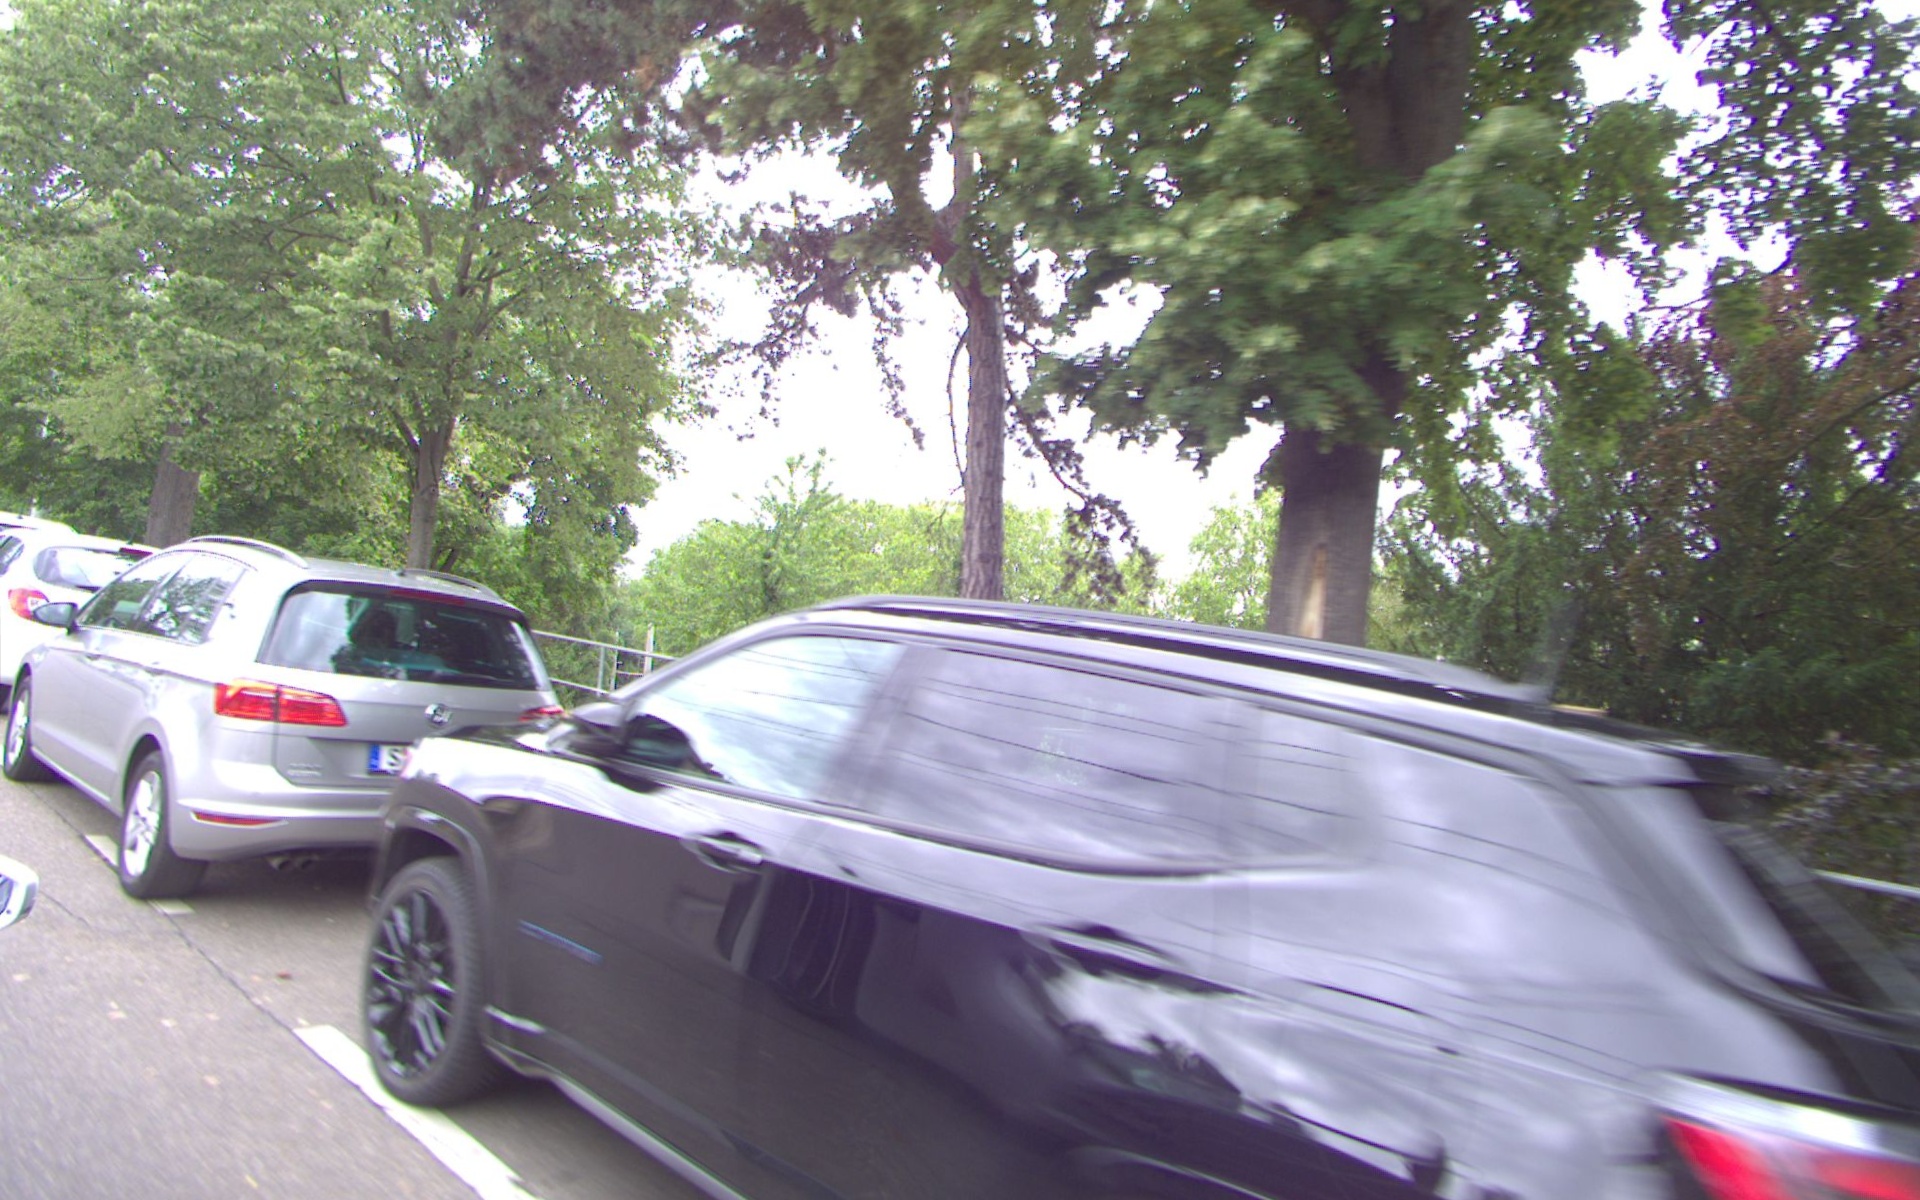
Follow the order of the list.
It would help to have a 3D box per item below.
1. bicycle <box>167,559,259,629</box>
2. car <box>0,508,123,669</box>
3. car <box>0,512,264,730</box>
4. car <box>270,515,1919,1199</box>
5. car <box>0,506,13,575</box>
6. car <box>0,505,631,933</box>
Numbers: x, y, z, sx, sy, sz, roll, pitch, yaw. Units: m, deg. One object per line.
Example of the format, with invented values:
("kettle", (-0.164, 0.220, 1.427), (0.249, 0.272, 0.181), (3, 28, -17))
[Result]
("bicycle", (-12.519, -0.105, 16.847), (1.764, 0.987, 0.428), (5, -3, 28))
("car", (-12.055, -0.321, 12.263), (4.026, 1.647, 1.730), (6, -6, 37))
("car", (-8.274, 0.084, 9.306), (4.002, 1.532, 1.633), (6, -5, 36))
("car", (-0.013, 0.796, 2.893), (4.533, 1.632, 1.905), (5, -4, 39))
("car", (-16.727, -0.858, 15.764), (4.988, 1.695, 1.879), (6, -5, 39))
("car", (-4.019, 0.432, 5.877), (4.300, 1.593, 1.735), (5, -3, 38))
